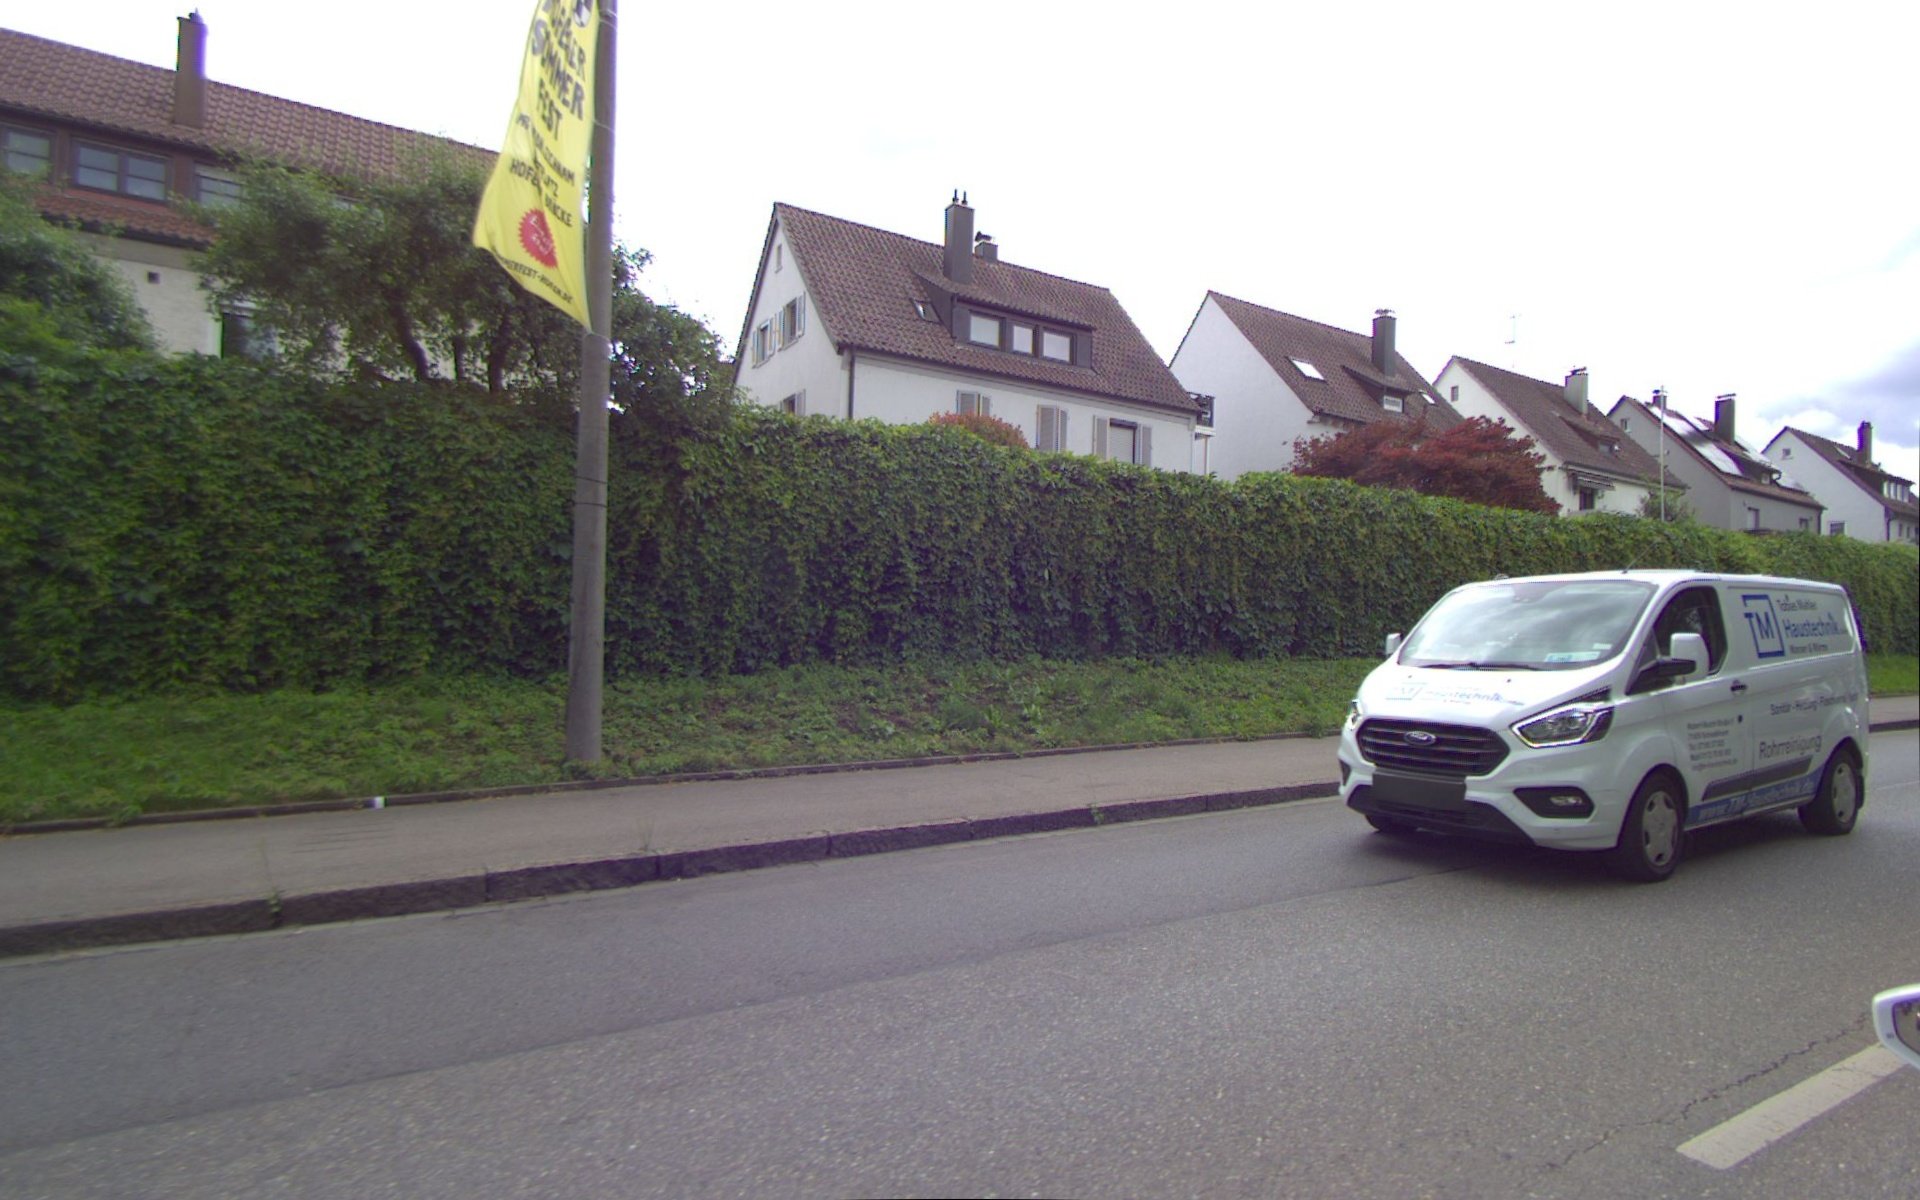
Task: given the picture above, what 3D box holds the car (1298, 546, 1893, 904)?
[{"bbox_3d":[4.951,0.773,7.618,4.856,1.957,1.897,2,-2,-32],"label":"car"}]
